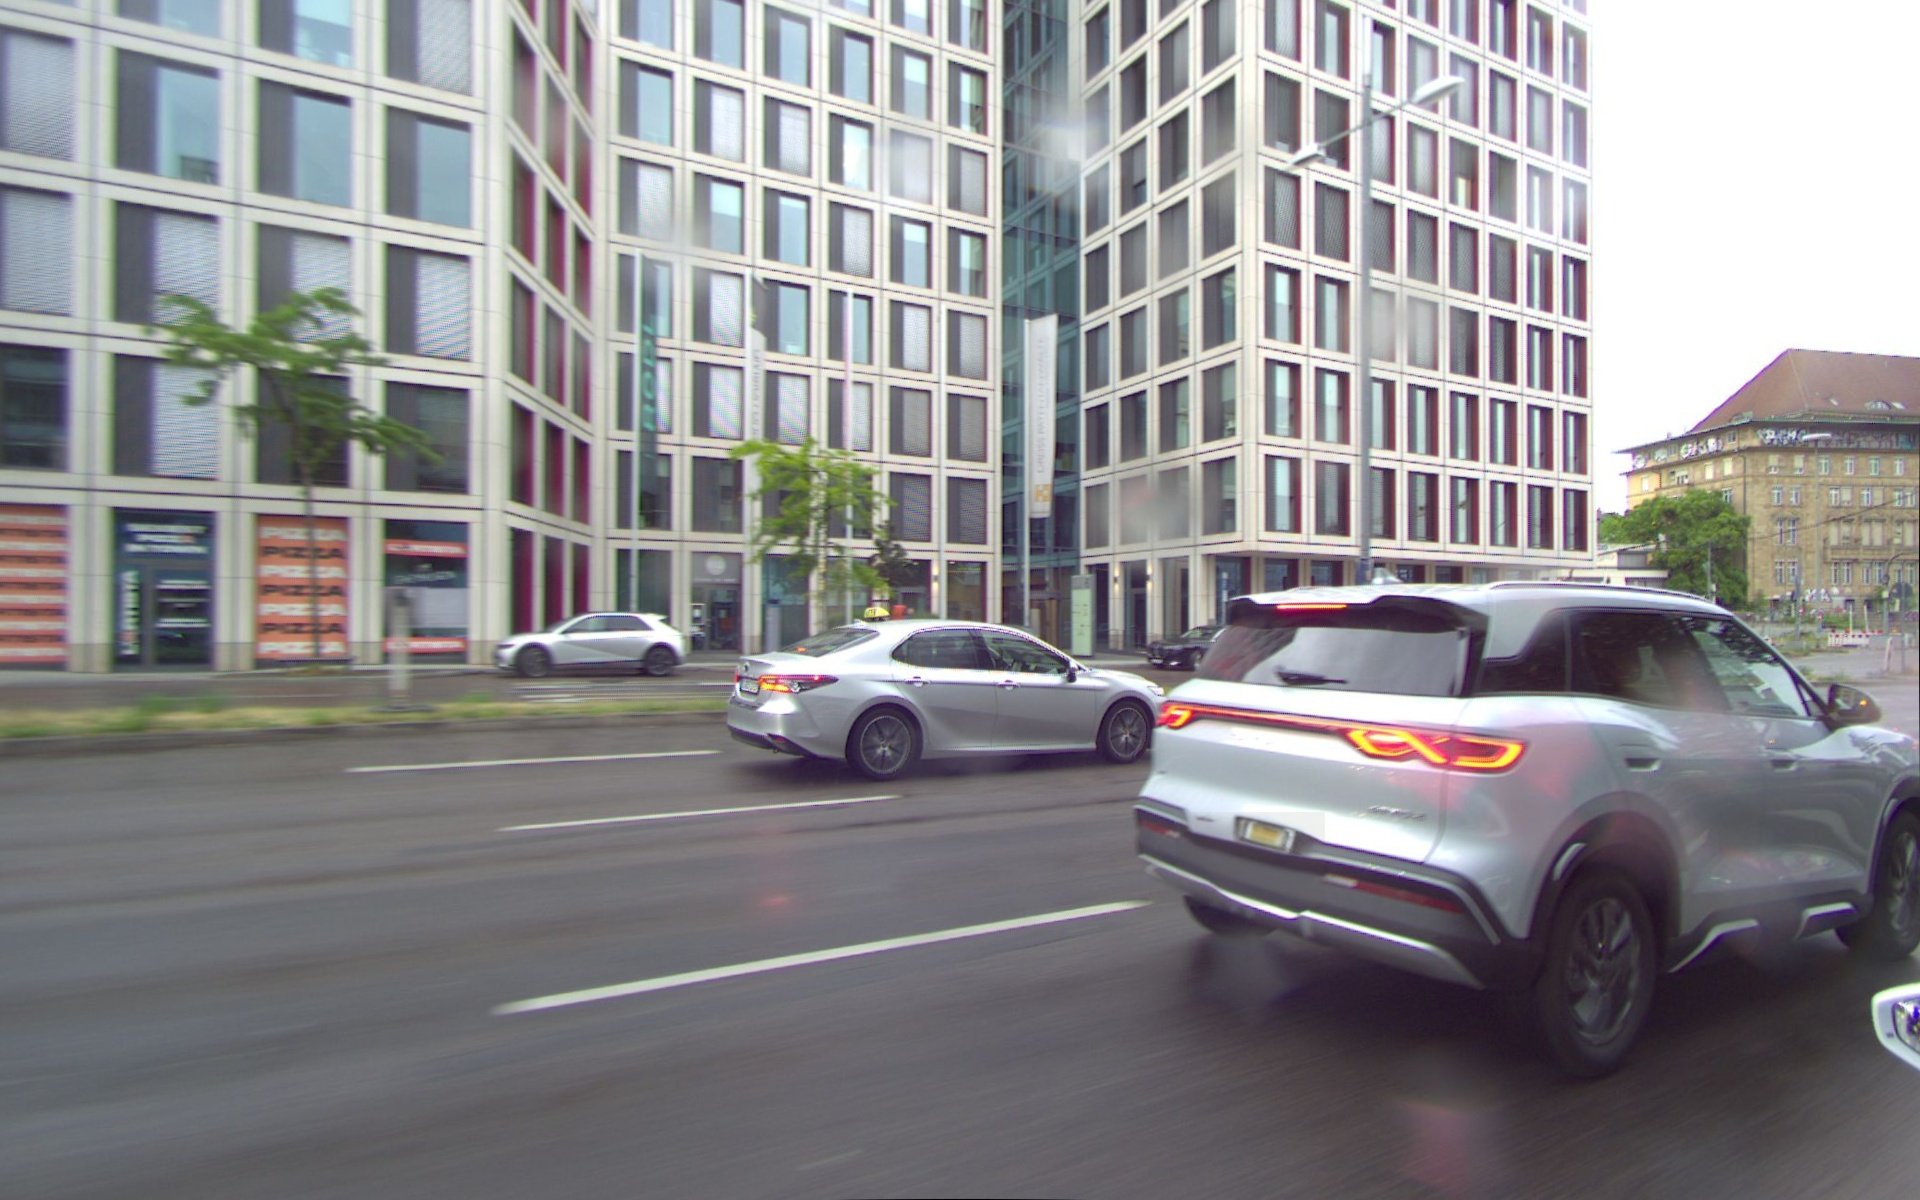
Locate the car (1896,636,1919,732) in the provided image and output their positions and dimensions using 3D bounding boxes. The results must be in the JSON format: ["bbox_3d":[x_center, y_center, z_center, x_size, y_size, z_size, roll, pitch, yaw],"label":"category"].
[{"bbox_3d":[16.481,1.338,15.338,4.325,1.422,1.727,2,-1,-26],"label":"car"}]

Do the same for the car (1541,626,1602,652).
[{"bbox_3d":[52.472,3.310,86.266,4.165,2.040,1.989,1,-1,42],"label":"car"}]

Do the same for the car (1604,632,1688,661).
[{"bbox_3d":[45.845,3.092,67.143,4.336,1.684,1.988,1,-1,45],"label":"car"}]

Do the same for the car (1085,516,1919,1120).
[{"bbox_3d":[2.786,0.680,4.630,4.122,1.683,1.799,2,-1,-30],"label":"car"}]

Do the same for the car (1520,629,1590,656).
[{"bbox_3d":[39.264,2.784,66.383,1.647,1.617,3.990,2,-1,-13],"label":"car"}]

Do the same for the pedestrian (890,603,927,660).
[{"bbox_3d":[-1.631,1.004,31.870,0.956,1.757,0.609,2,-1,-31],"label":"pedestrian"}]

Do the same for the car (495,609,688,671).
[{"bbox_3d":[-9.211,1.024,25.221,4.322,1.442,1.690,2,-3,-30],"label":"car"}]

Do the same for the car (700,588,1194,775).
[{"bbox_3d":[-0.036,0.759,10.266,4.744,1.541,1.822,2,-1,-30],"label":"car"}]

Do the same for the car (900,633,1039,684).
[{"bbox_3d":[0.305,1.763,30.468,3.909,1.442,1.690,2,-3,-30],"label":"car"}]

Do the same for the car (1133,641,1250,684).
[{"bbox_3d":[8.131,2.175,35.201,3.909,1.442,1.690,2,-3,-30],"label":"car"}]
